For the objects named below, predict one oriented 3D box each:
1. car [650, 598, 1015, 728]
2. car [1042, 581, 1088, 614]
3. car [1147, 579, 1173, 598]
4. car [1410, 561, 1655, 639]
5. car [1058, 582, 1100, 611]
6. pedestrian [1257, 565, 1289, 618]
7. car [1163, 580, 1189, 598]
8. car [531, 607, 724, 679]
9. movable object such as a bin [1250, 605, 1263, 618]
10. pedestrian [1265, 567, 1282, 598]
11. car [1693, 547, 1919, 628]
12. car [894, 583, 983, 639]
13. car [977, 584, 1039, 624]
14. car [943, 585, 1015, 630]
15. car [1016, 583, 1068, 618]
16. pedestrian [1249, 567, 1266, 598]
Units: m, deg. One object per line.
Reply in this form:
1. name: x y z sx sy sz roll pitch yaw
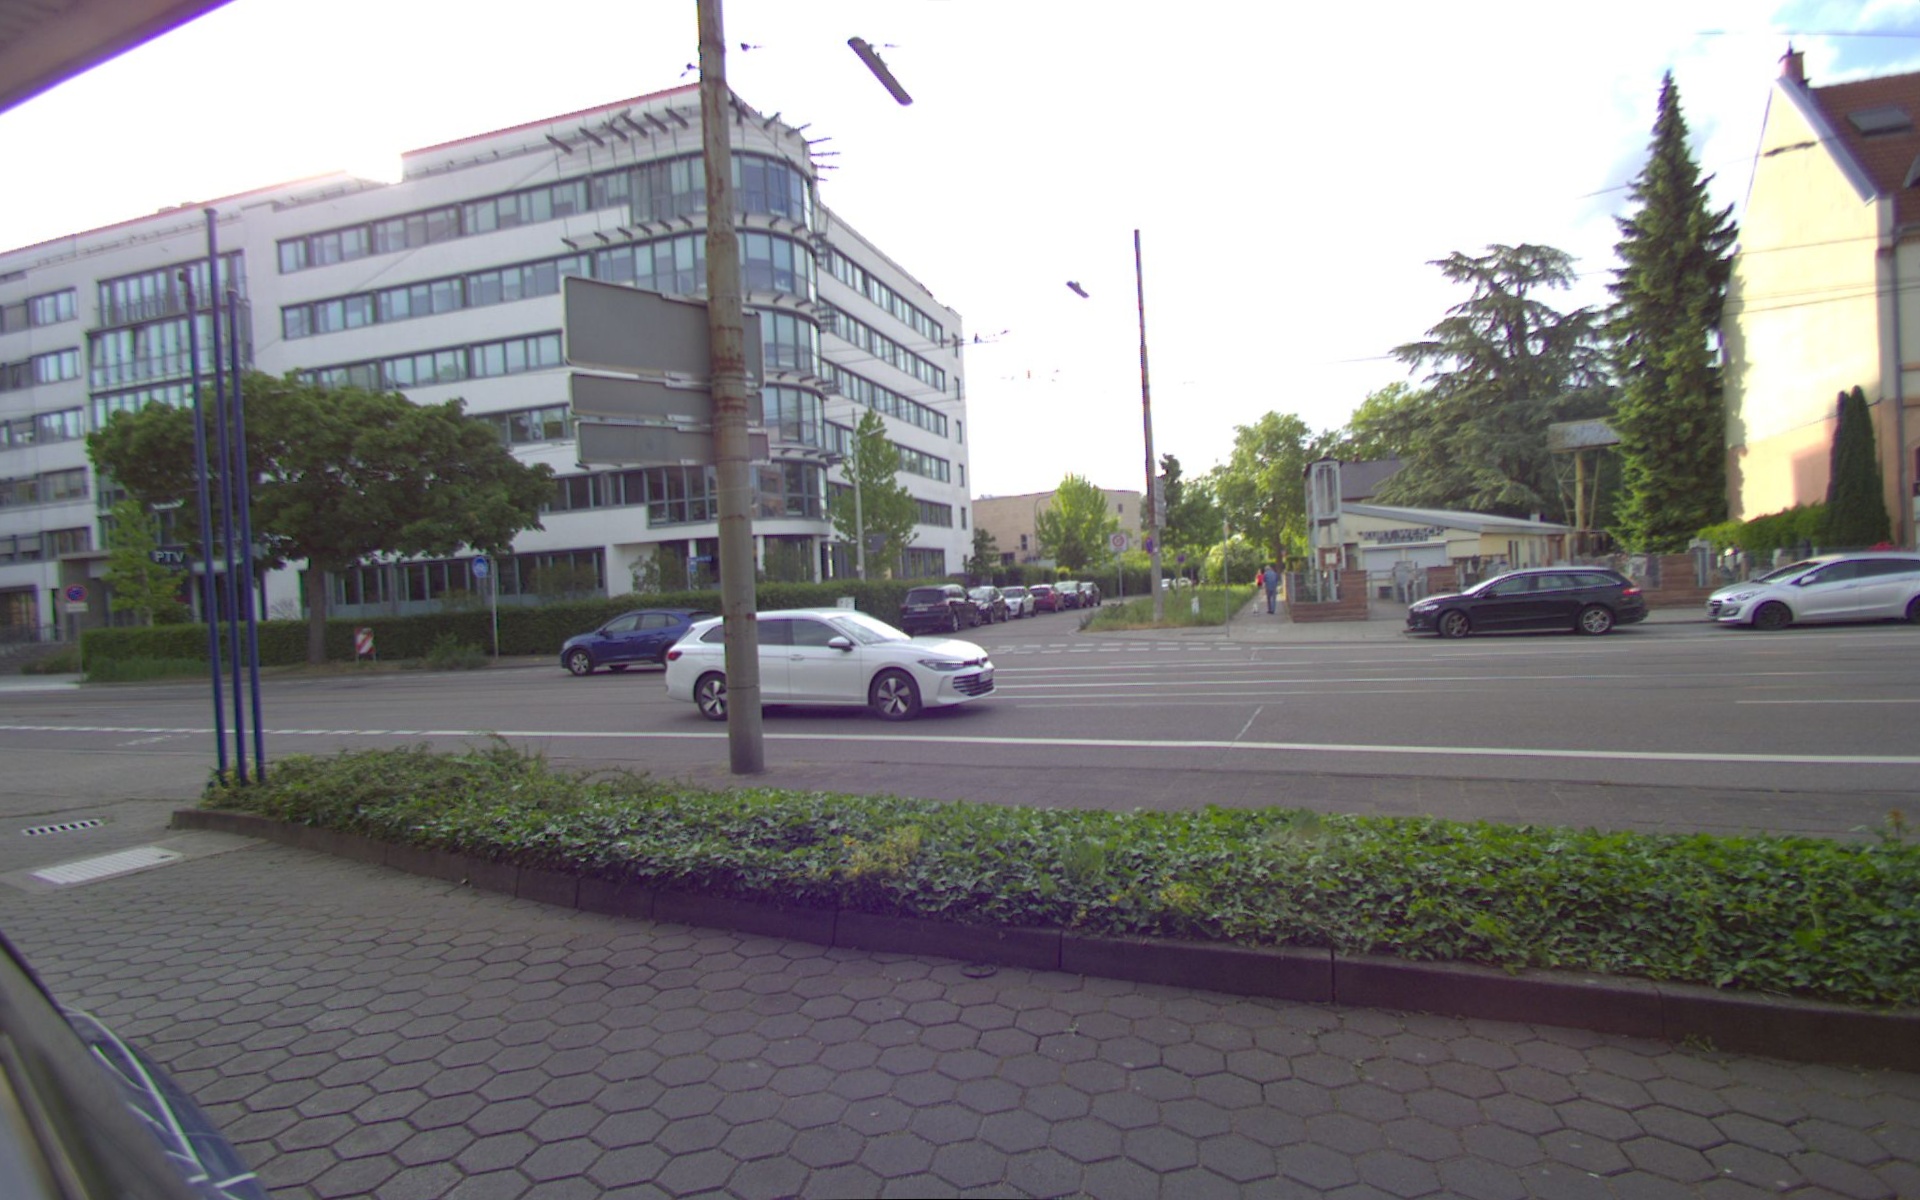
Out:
1. car: -1.814 0.867 14.291 4.796 1.520 1.850 -2 2 23
2. car: 6.035 -0.153 57.812 1.807 1.704 4.392 -4 0 16
3. car: 19.960 -1.170 100.914 1.811 1.654 4.044 -4 0 22
4. car: 13.019 0.000 23.375 4.632 1.533 1.842 -3 2 22
5. car: 7.389 -0.232 62.578 1.807 1.585 4.052 -4 0 16
6. pedestrian: 10.809 -0.299 34.945 0.901 1.712 0.921 -3 2 14
7. car: 22.837 -1.193 106.862 1.813 1.654 4.040 -4 0 25
8. car: -8.089 1.042 24.742 4.096 1.480 1.856 -3 0 13
9. movable object such as a bin: 10.212 0.404 34.880 0.363 0.397 0.660 -2 2 14
10. pedestrian: 19.366 -1.074 62.526 0.965 1.896 1.055 -1 0 18
11. car: 18.412 -0.276 21.404 4.349 1.493 1.732 -3 1 22
12. car: -0.682 0.349 35.573 1.807 1.701 4.370 -4 1 16
13. car: 2.229 0.140 45.692 1.807 1.589 4.175 -4 0 16
14. car: 0.836 0.260 40.988 1.807 1.589 4.175 -4 0 16
15. car: 4.304 0.007 52.414 1.807 1.589 4.175 -4 0 16
16. pedestrian: 18.456 -1.061 62.840 0.965 1.896 1.055 -1 0 18
